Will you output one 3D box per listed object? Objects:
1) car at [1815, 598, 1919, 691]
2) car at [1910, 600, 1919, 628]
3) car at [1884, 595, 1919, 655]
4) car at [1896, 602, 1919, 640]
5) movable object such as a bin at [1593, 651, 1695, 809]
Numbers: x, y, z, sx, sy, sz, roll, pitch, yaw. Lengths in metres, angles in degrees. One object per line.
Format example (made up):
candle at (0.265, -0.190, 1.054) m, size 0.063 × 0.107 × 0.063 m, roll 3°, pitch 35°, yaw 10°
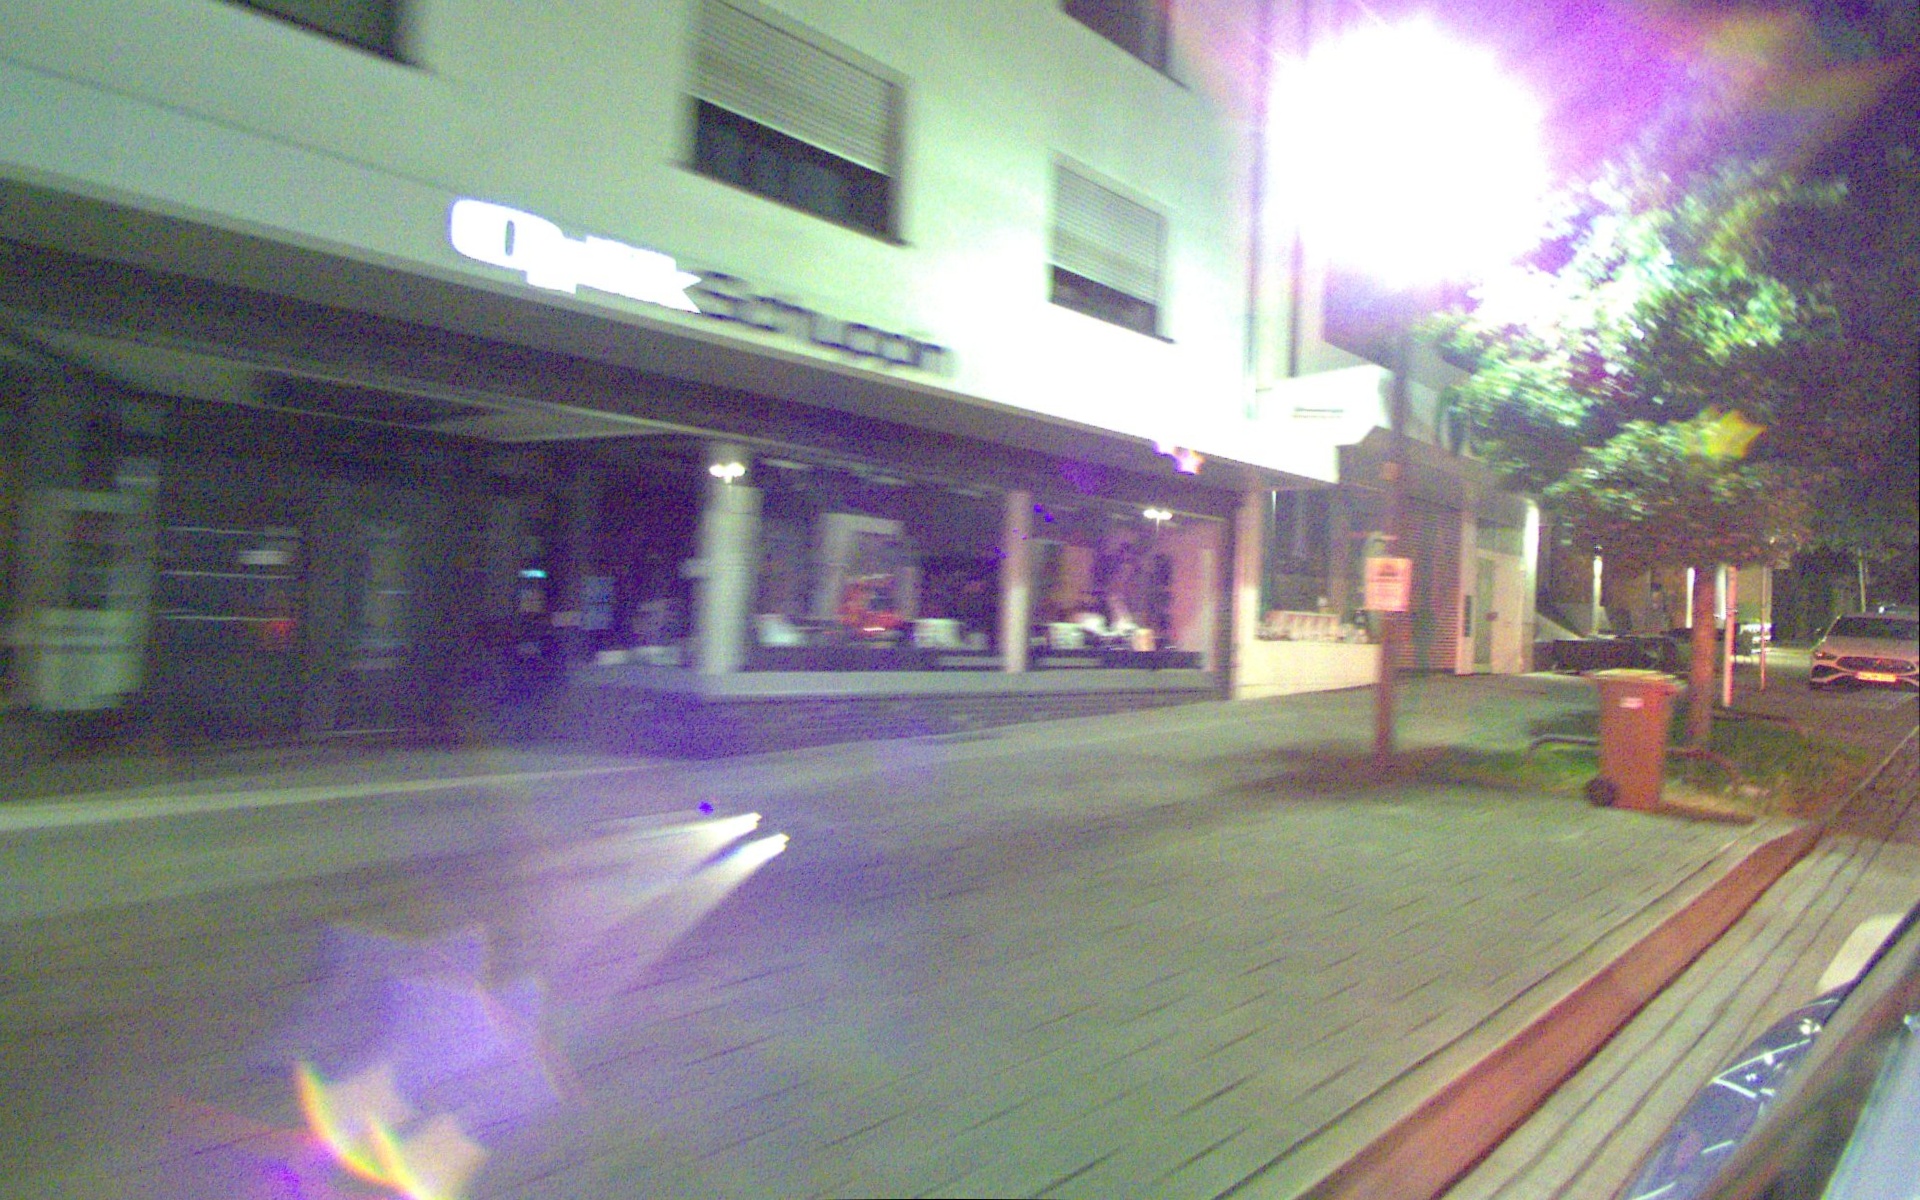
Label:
car at (17.090, 0.737, 18.436) m, size 4.519 × 1.460 × 1.859 m, roll 0°, pitch 3°, yaw -44°
car at (53.509, 0.755, 55.795) m, size 1.638 × 1.485 × 3.717 m, roll -1°, pitch -1°, yaw 43°
car at (28.401, 0.710, 29.604) m, size 1.788 × 1.662 × 4.309 m, roll 3°, pitch 3°, yaw 45°
car at (38.730, 0.825, 40.549) m, size 1.779 × 1.456 × 4.223 m, roll -1°, pitch 0°, yaw 43°
movable object such as a bin at (4.624, 0.845, 6.837) m, size 0.523 × 0.949 × 0.621 m, roll -1°, pitch 1°, yaw 38°
